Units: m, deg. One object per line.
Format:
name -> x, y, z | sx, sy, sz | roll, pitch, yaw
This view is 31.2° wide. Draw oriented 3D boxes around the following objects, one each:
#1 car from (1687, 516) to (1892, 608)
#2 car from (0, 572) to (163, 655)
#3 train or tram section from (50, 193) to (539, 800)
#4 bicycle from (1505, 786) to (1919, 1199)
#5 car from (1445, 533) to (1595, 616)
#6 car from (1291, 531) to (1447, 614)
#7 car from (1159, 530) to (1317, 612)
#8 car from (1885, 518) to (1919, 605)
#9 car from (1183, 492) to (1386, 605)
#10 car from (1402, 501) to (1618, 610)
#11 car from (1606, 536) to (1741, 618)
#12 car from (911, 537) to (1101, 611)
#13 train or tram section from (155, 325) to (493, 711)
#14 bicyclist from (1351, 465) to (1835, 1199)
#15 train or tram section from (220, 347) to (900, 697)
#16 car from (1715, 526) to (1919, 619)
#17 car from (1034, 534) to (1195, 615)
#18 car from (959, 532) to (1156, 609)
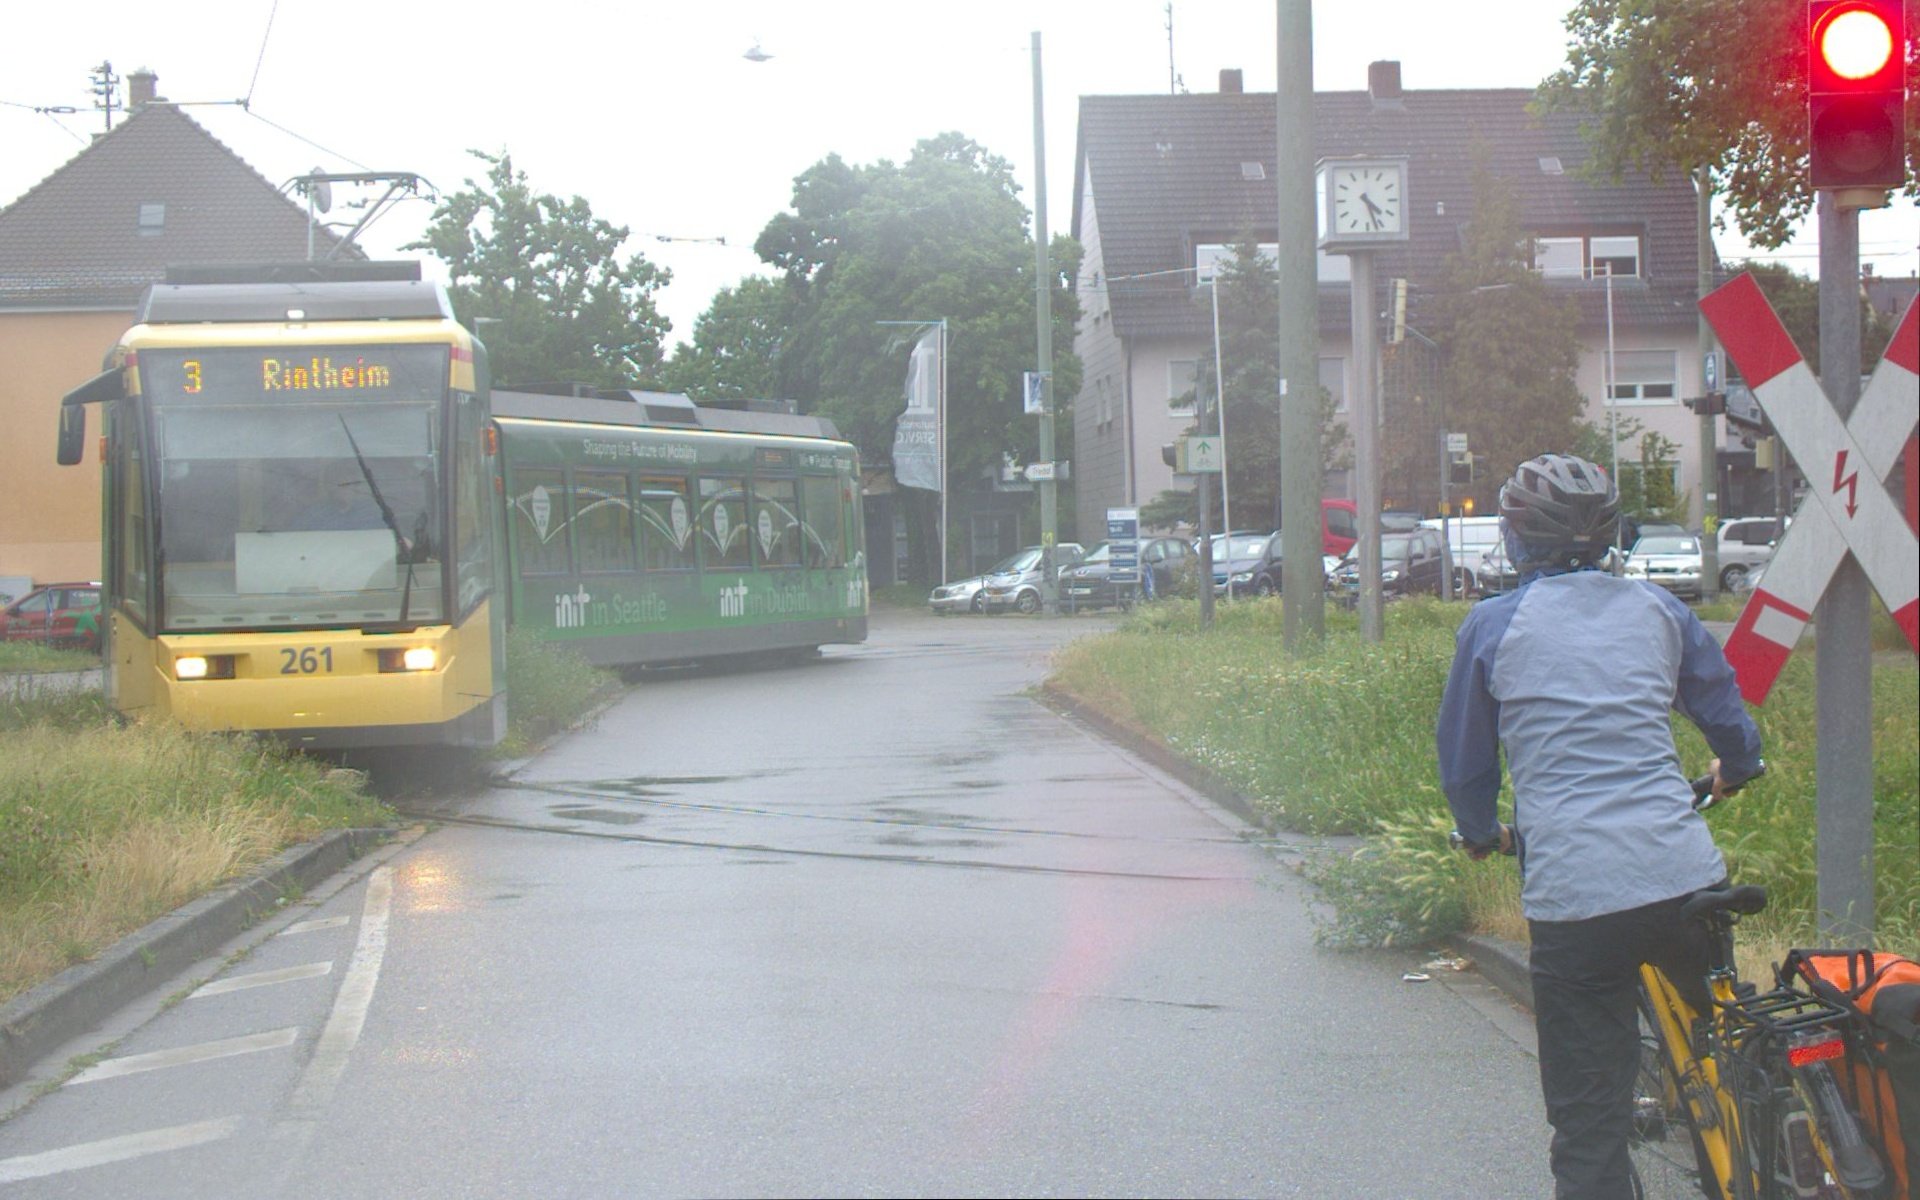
car -> 18.377, -0.838, 76.273 | 3.986, 1.944, 2.000 | 1, 0, -2
car -> -16.662, 0.226, 62.596 | 3.986, 1.451, 1.834 | 1, 0, -6
train or tram section -> -5.043, -0.698, 26.426 | 2.760, 3.541, 12.207 | -2, 1, -10
bicycle -> 1.352, 0.900, 6.070 | 0.446, 1.001, 1.728 | -1, 1, -2
car -> 11.525, -0.513, 70.576 | 1.996, 1.634, 3.995 | 1, 0, 25
car -> 8.407, -0.554, 70.356 | 1.996, 1.634, 3.995 | 1, 0, 25
car -> 5.813, -0.600, 71.524 | 1.996, 1.634, 3.995 | 1, 0, 25
car -> 20.888, -0.791, 72.289 | 1.994, 1.784, 4.000 | 1, 0, 4
car -> 7.552, -1.194, 79.799 | 4.398, 2.557, 1.999 | 1, 0, 14
car -> 12.173, -0.980, 76.234 | 4.395, 2.317, 2.000 | 1, 0, -2
car -> 14.754, -0.471, 70.967 | 1.843, 1.634, 3.995 | 1, 0, 25
car -> 1.070, -0.601, 79.930 | 3.987, 1.637, 2.000 | 0, 0, -36
train or tram section -> -6.278, -0.777, 34.613 | 2.760, 3.541, 4.989 | -1, 0, -5
bicyclist -> 1.101, 0.587, 6.150 | 0.667, 1.620, 0.853 | 1, 0, -2
train or tram section -> -4.278, -0.949, 41.698 | 2.763, 3.541, 13.121 | -1, 1, 19
car -> 16.358, -0.513, 65.105 | 3.684, 1.695, 1.890 | 1, 0, 0
car -> 3.301, -0.536, 72.770 | 1.996, 1.634, 3.995 | 1, 0, 25
car -> 2.181, -0.657, 76.861 | 3.987, 1.670, 2.000 | 0, 0, -36
